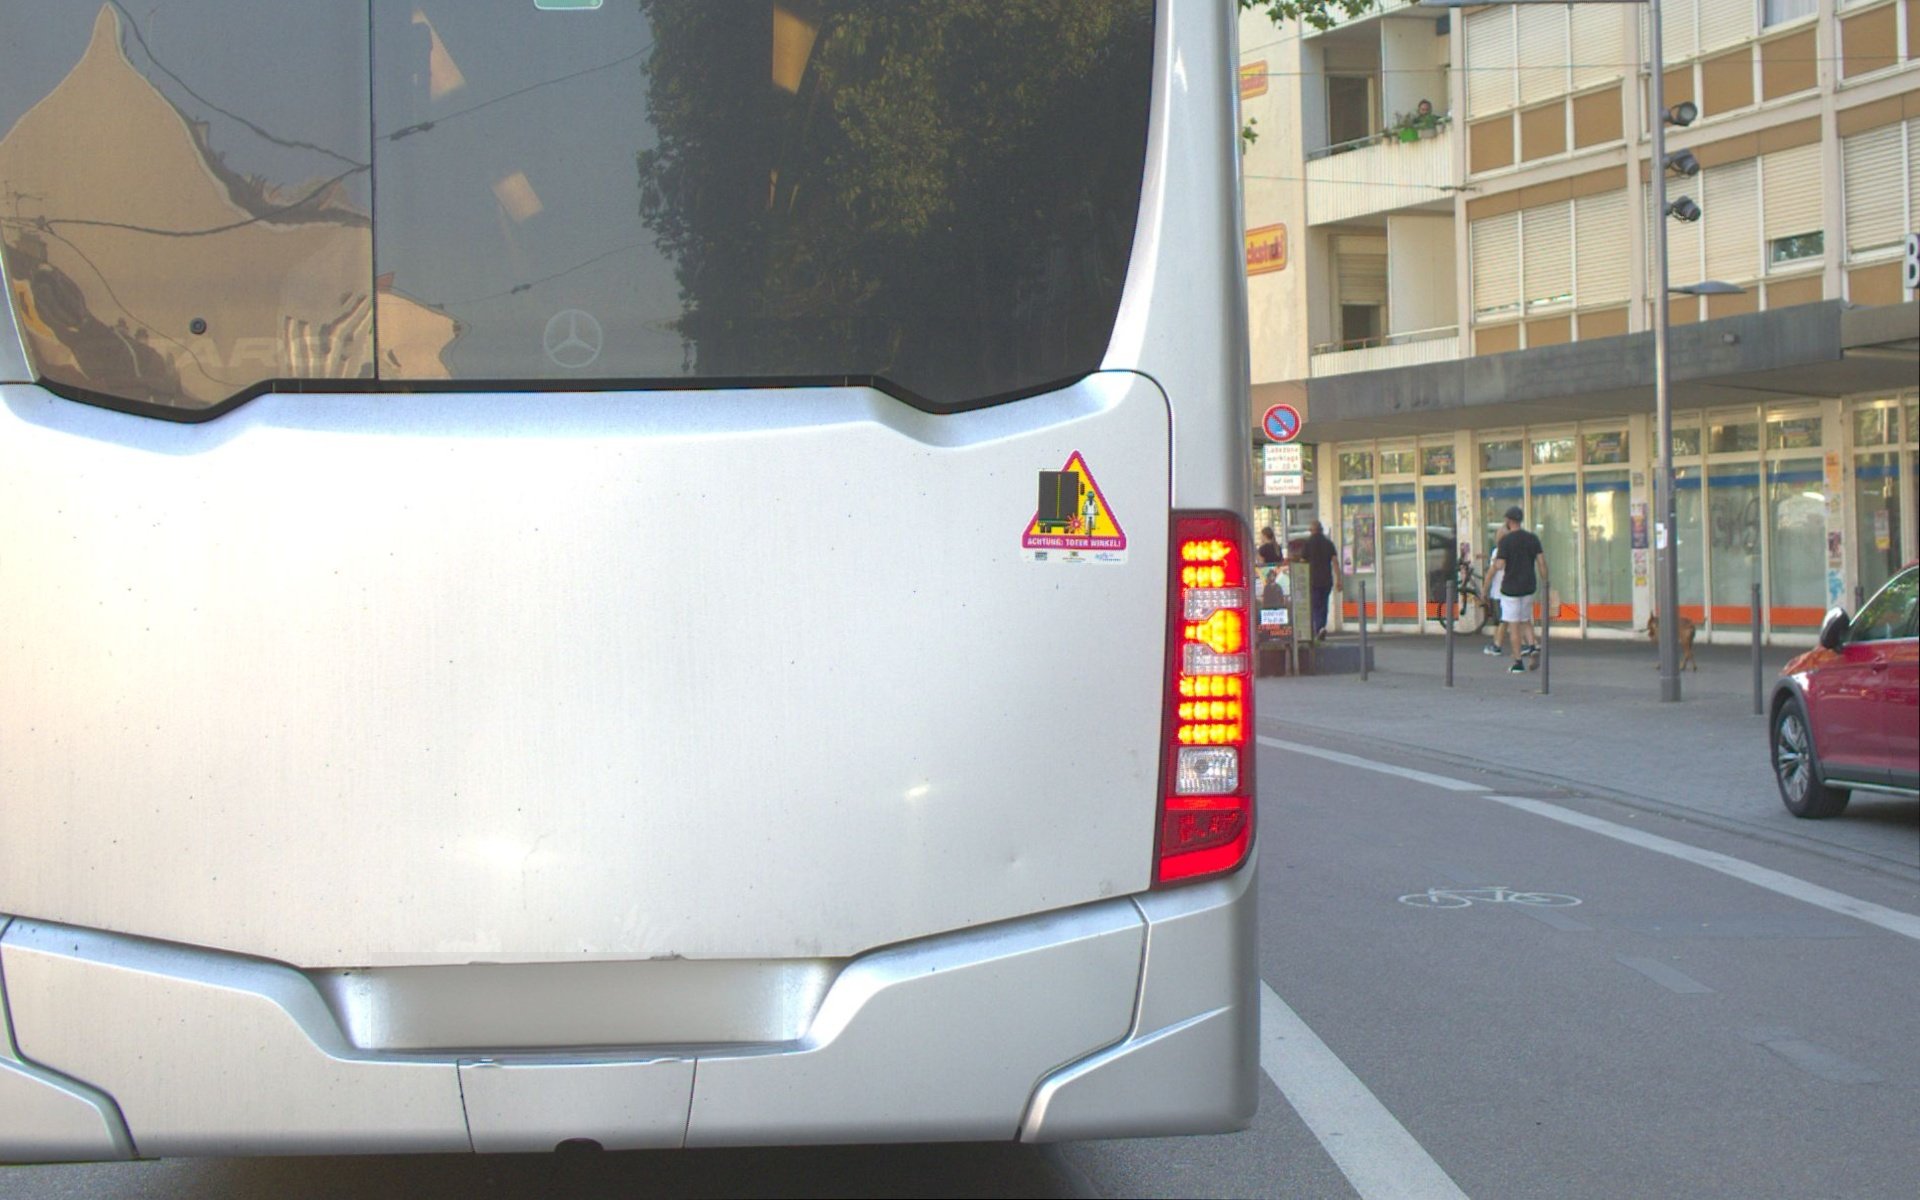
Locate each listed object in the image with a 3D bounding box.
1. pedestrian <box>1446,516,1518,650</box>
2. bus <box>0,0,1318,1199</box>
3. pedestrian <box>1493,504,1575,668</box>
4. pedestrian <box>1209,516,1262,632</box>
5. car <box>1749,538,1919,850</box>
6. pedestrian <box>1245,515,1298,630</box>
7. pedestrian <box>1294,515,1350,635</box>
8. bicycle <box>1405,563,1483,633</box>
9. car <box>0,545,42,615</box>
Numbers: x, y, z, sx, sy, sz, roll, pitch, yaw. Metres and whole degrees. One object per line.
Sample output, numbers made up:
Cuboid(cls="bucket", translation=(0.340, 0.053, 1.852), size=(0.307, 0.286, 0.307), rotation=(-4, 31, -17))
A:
Cuboid(cls="pedestrian", translation=(6.233, -0.210, 41.033), size=(0.645, 1.576, 0.560), rotation=(-1, 1, -16))
Cuboid(cls="bus", translation=(-0.768, -0.188, 11.006), size=(2.630, 3.017, 9.998), rotation=(0, 1, -1))
Cuboid(cls="pedestrian", translation=(6.080, -0.152, 36.437), size=(0.645, 1.711, 0.560), rotation=(-1, 1, -16))
Cuboid(cls="pedestrian", translation=(3.941, -0.376, 49.251), size=(0.535, 1.643, 0.616), rotation=(-1, 1, -17))
Cuboid(cls="car", translation=(5.463, 0.427, 17.047), size=(1.769, 1.477, 4.304), rotation=(-2, 1, -4))
Cuboid(cls="pedestrian", translation=(4.521, -0.396, 49.850), size=(0.535, 1.643, 0.616), rotation=(-1, 1, -17))
Cuboid(cls="pedestrian", translation=(5.029, -0.349, 47.778), size=(0.535, 1.643, 0.616), rotation=(-1, 1, -17))
Cuboid(cls="bicycle", translation=(6.662, -0.039, 47.399), size=(0.412, 0.941, 1.441), rotation=(-1, 1, -21))
Cuboid(cls="car", translation=(-25.539, -0.532, 88.708), size=(1.994, 1.785, 3.998), rotation=(0, 0, -41))
